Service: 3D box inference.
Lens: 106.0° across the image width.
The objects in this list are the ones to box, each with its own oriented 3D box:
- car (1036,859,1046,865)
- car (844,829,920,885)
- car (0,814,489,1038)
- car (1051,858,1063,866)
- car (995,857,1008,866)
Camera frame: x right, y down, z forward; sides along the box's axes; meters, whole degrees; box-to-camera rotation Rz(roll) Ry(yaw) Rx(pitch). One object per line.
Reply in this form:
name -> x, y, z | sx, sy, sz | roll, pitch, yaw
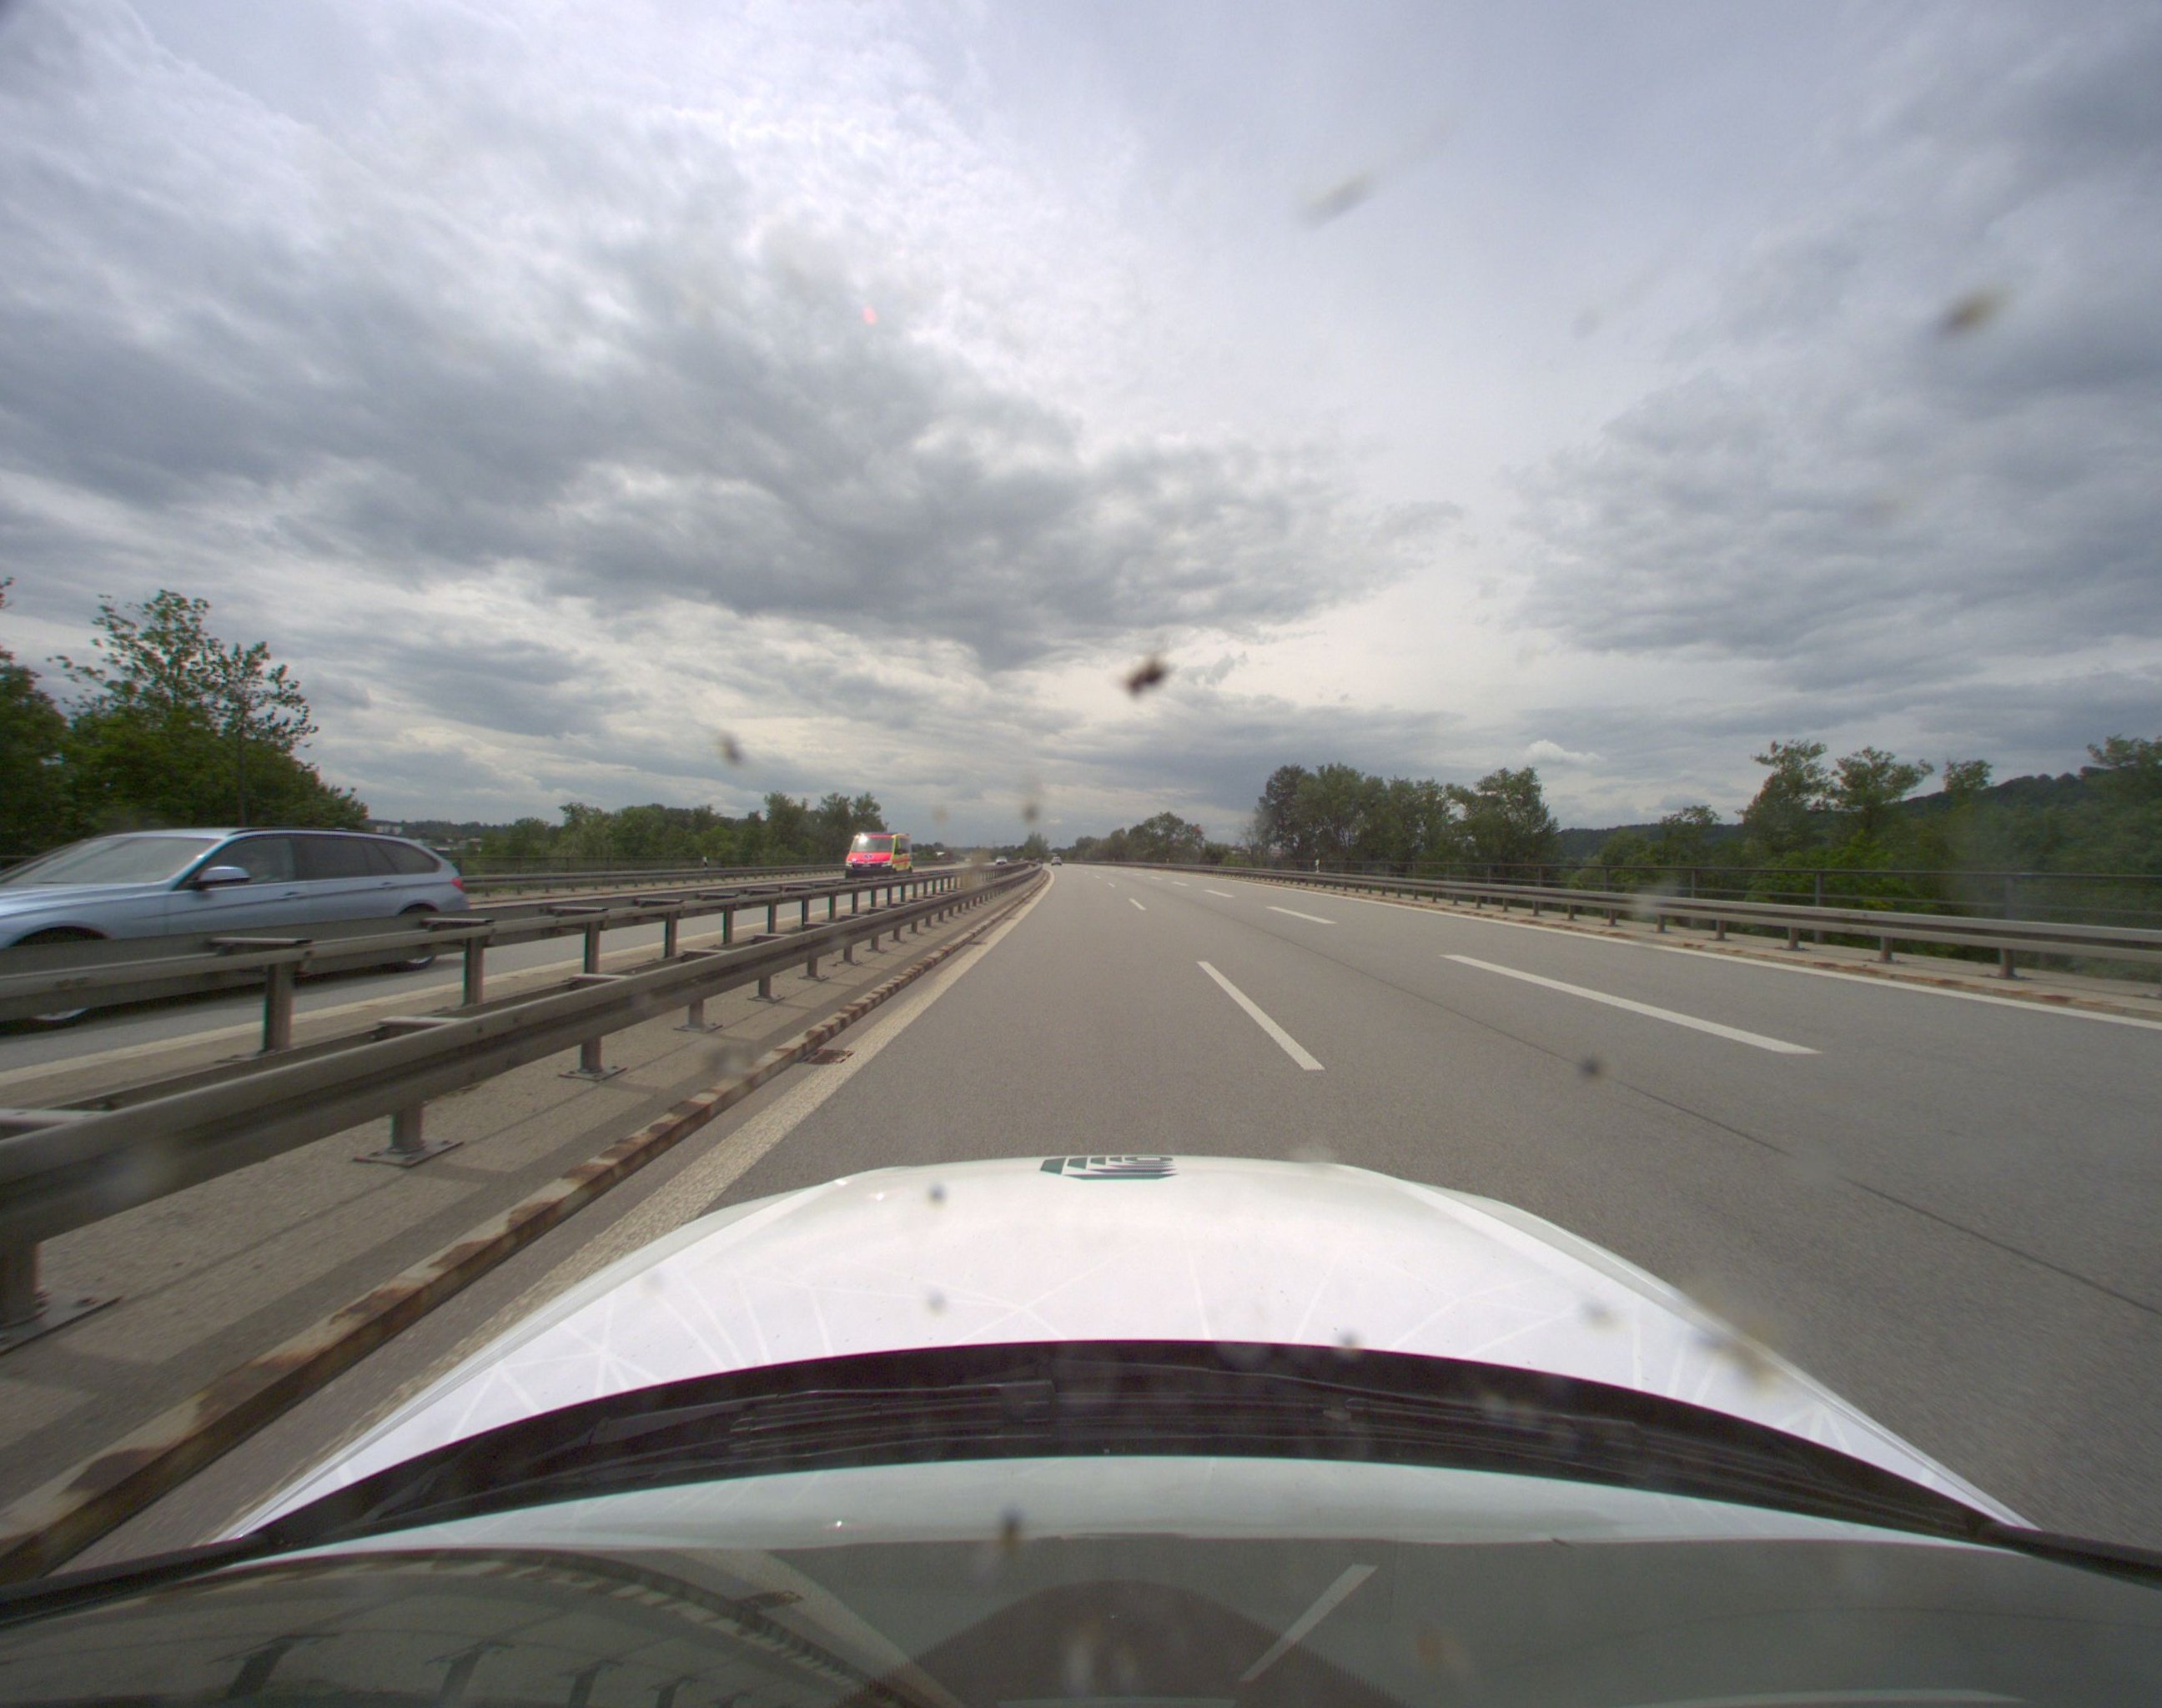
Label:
car -> -10.104, 1.993, 207.153 | 1.893, 1.640, 4.604 | 1, 0, -11
car -> -8.834, 0.137, 36.798 | 1.988, 2.293, 6.394 | 0, 0, -1
car -> -7.611, 0.483, 7.064 | 1.722, 1.406, 4.251 | -2, 0, 2
car -> -4.788, 1.605, 161.509 | 1.902, 1.640, 4.381 | 1, -1, -9
car -> -12.567, 1.123, 128.520 | 1.767, 1.387, 4.384 | 0, -1, -2
